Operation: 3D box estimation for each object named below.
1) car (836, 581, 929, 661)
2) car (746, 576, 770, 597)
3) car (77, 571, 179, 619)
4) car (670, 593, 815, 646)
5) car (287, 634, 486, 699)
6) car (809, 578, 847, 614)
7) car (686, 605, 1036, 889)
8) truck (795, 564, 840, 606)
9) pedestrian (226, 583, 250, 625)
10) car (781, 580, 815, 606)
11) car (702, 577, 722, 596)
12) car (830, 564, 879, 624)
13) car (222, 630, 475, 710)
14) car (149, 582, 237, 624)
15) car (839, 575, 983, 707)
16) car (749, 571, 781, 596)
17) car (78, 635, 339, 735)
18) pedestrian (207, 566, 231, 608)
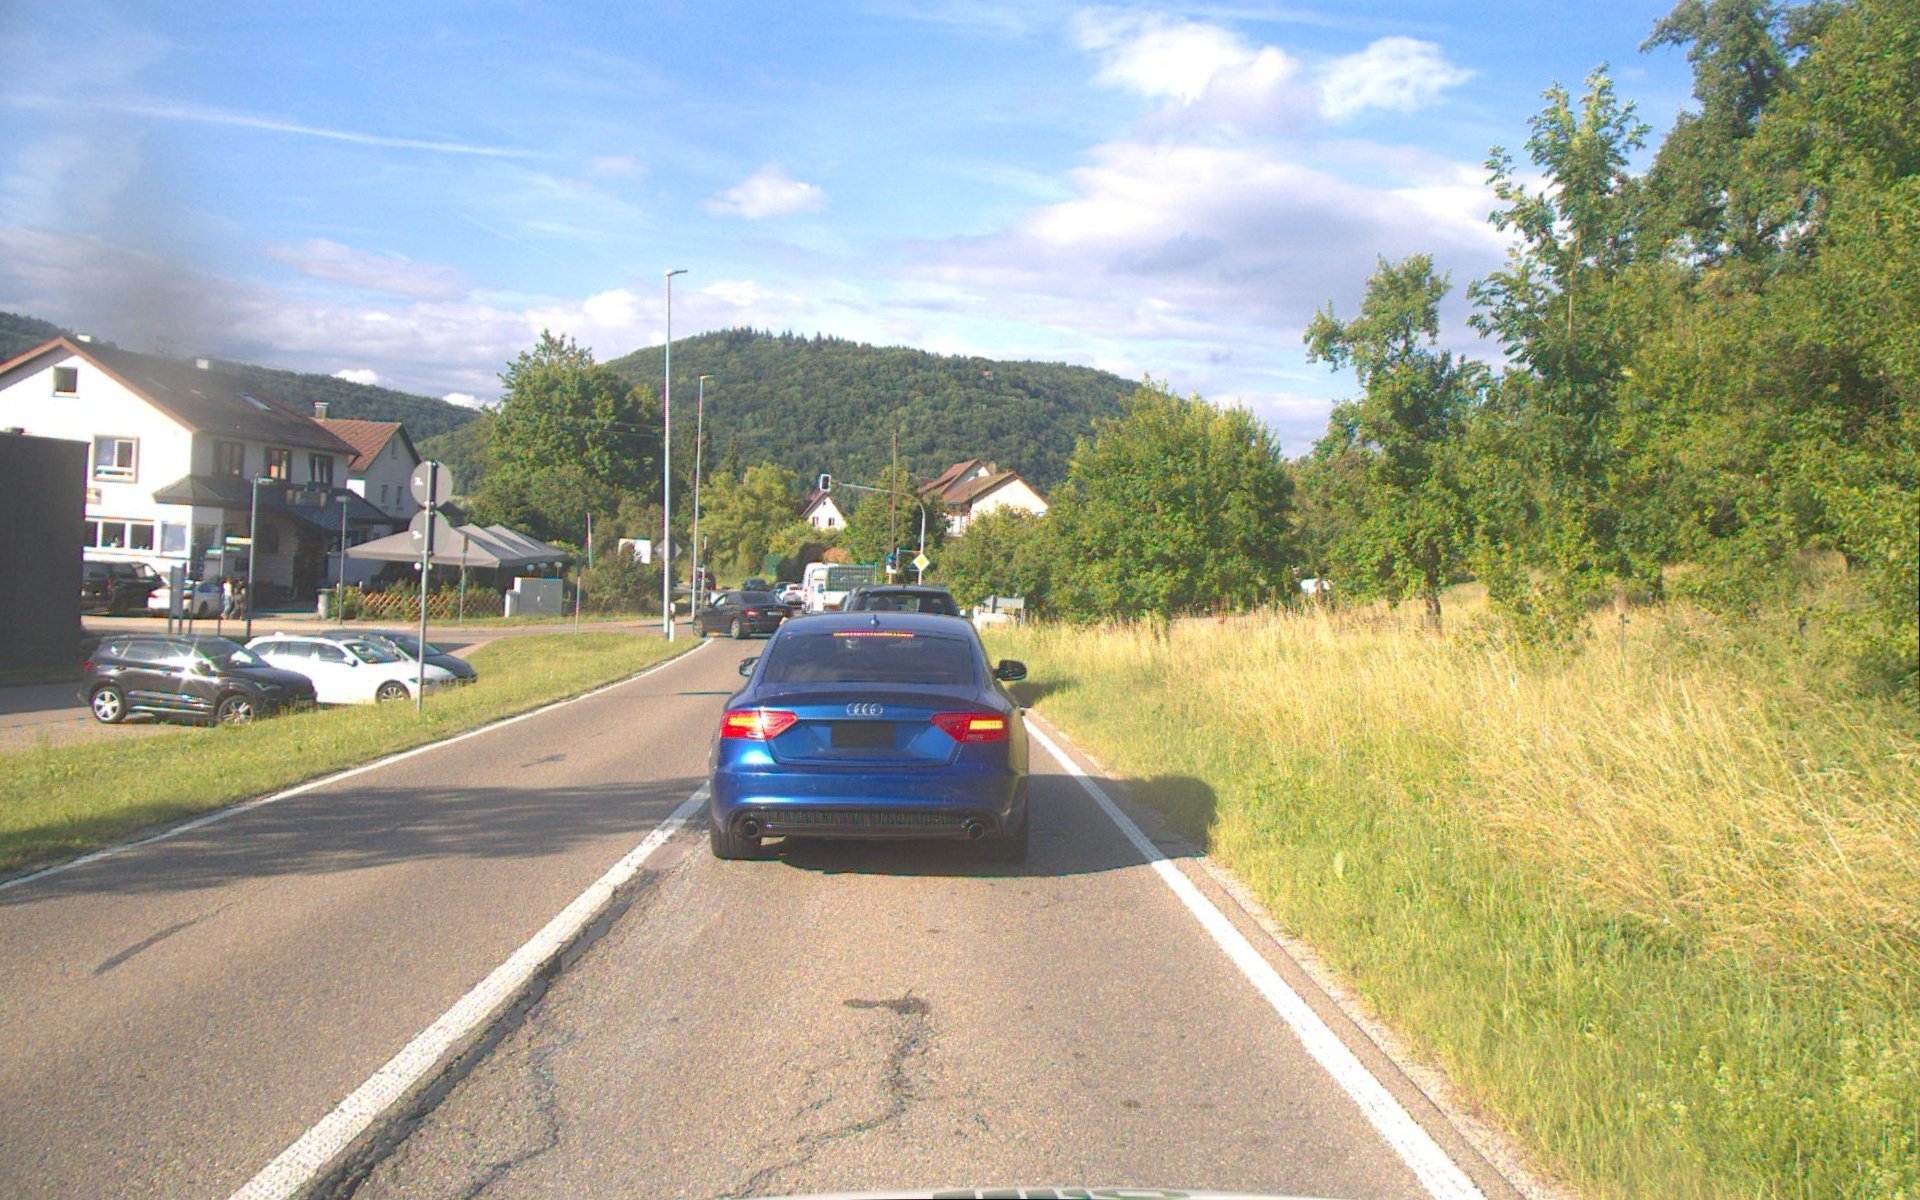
[{"bbox_3d":[-1.717,0.473,37.963,1.767,1.668,4.464,1,-1,1],"label":"car"},{"bbox_3d":[-15.203,-0.993,124.641,1.666,1.516,3.520,1,-1,-9],"label":"car"},{"bbox_3d":[-30.962,-0.175,61.669,1.849,1.691,3.998,1,-1,-2],"label":"car"},{"bbox_3d":[-6.593,0.589,50.169,3.904,1.467,1.920,1,-1,19],"label":"car"},{"bbox_3d":[-13.085,1.499,37.856,3.902,1.333,1.762,1,-1,6],"label":"car"},{"bbox_3d":[-6.352,-0.183,79.255,1.712,1.668,3.995,1,-1,-6],"label":"car"},{"bbox_3d":[-0.413,0.757,10.341,1.758,1.412,4.001,0,-1,2],"label":"car"},{"bbox_3d":[-7.335,-0.730,84.587,1.667,1.988,5.906,1,-1,-11],"label":"truck"},{"bbox_3d":[-26.728,0.165,61.233,0.596,1.529,0.589,1,-1,-2],"label":"pedestrian"},{"bbox_3d":[-9.812,-0.421,100.087,1.667,1.516,3.517,1,-1,-11],"label":"car"},{"bbox_3d":[-22.648,-1.242,151.120,1.597,1.604,3.669,1,-1,-11],"label":"car"},{"bbox_3d":[-4.129,-0.213,64.082,1.712,2.234,3.995,1,-1,-6],"label":"car"},{"bbox_3d":[-12.969,1.458,35.172,4.711,1.520,1.882,1,-1,10],"label":"car"},{"bbox_3d":[-28.726,0.125,62.075,1.524,1.475,3.998,1,-1,-2],"label":"car"},{"bbox_3d":[-0.607,0.543,23.389,1.710,1.668,4.001,1,-1,2],"label":"car"},{"bbox_3d":[-12.831,-1.073,108.746,1.669,1.516,3.513,1,-1,-14],"label":"car"},{"bbox_3d":[-13.908,1.534,30.717,3.939,1.666,2.002,1,-1,10],"label":"car"},{"bbox_3d":[-27.432,-0.494,61.243,0.596,1.529,0.589,1,-1,-2],"label":"pedestrian"}]
